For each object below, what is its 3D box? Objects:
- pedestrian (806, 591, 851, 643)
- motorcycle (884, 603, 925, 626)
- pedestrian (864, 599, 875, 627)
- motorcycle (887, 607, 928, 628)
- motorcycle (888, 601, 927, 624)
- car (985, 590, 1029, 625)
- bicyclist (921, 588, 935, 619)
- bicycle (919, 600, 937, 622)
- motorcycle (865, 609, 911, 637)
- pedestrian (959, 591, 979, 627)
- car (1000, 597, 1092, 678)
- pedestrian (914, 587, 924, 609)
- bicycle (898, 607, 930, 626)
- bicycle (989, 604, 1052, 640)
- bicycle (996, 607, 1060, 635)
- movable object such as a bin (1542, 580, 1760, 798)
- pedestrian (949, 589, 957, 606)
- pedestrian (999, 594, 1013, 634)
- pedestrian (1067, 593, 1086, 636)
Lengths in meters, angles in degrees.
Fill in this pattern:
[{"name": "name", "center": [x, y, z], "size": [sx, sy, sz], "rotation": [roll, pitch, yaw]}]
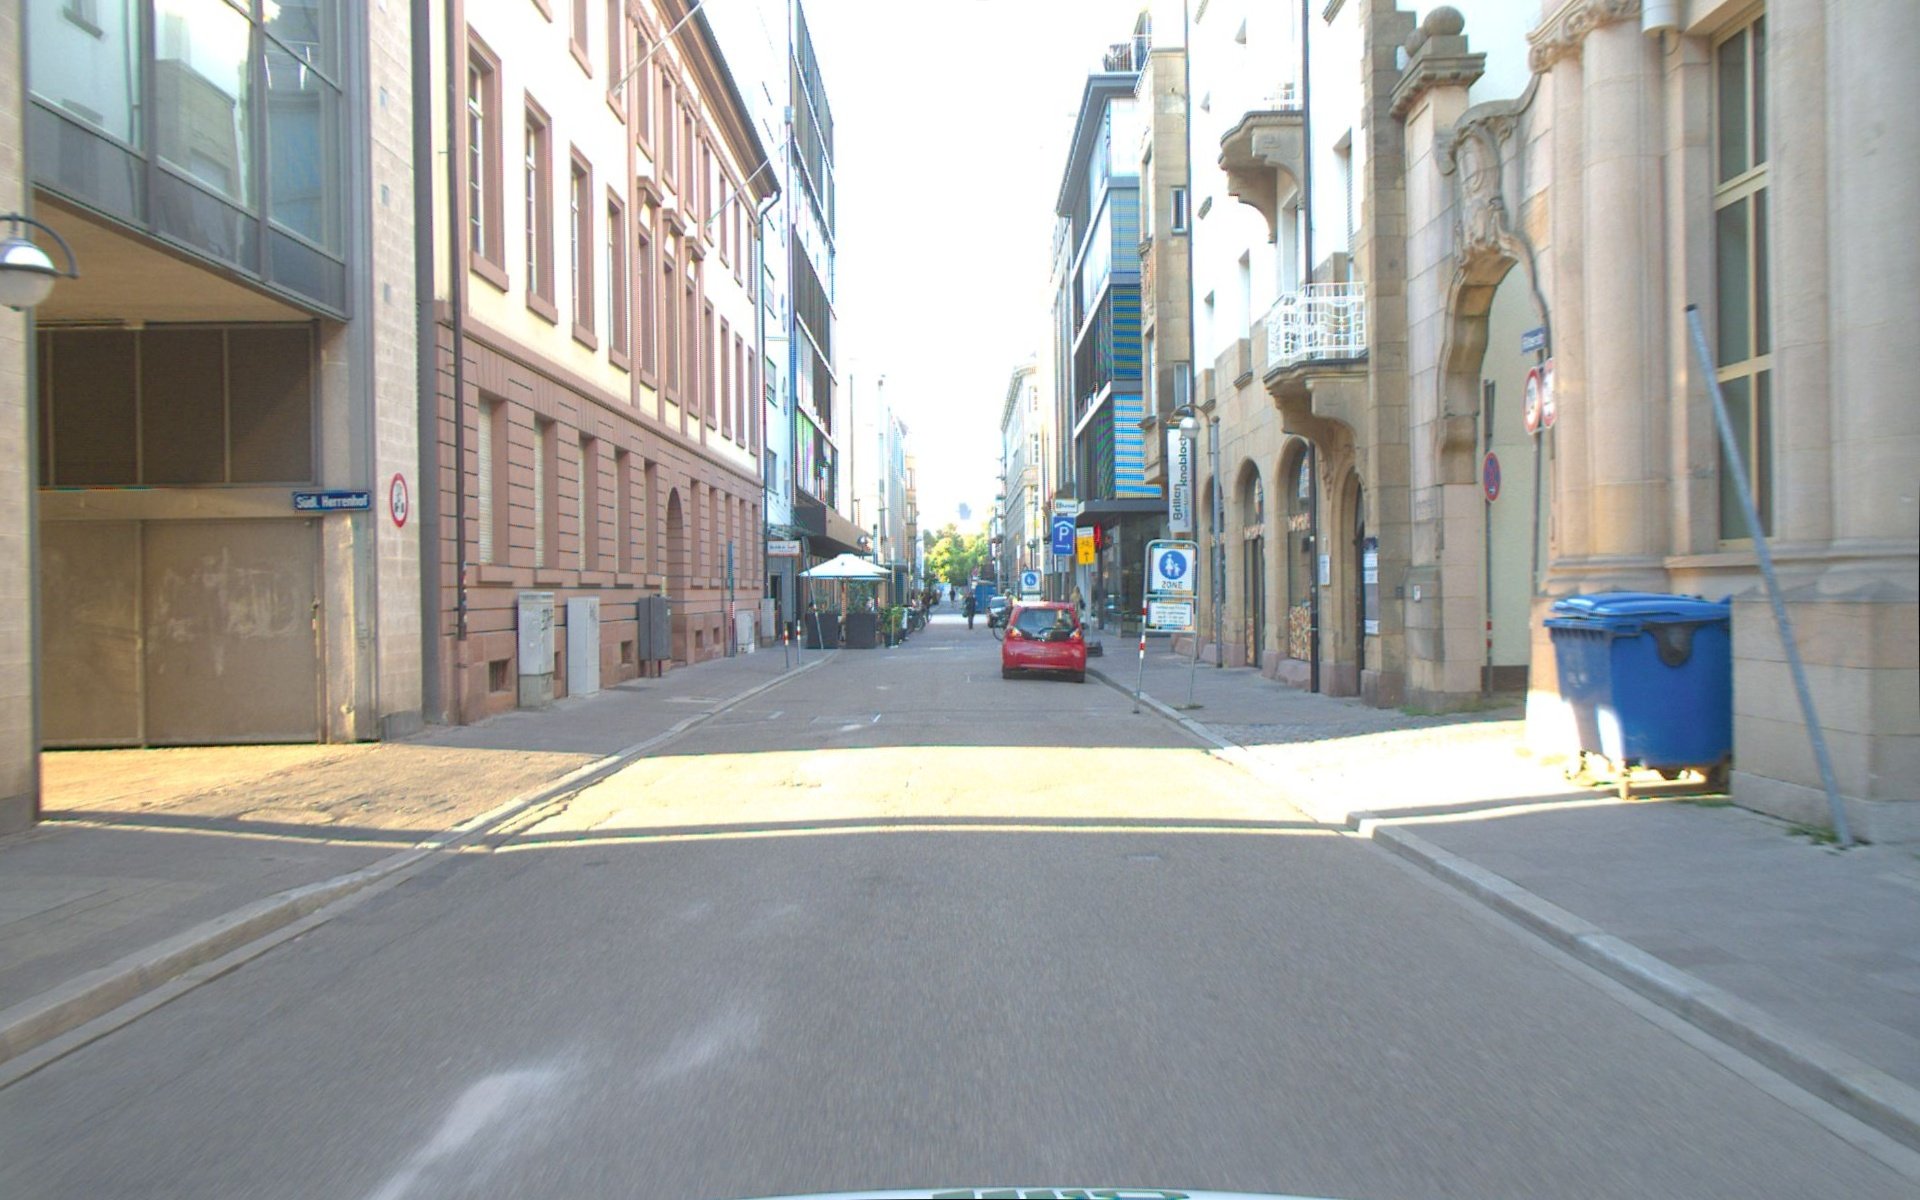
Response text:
[{"name": "pedestrian", "center": [-3.826, 0.493, 48.204], "size": [1.264, 1.513, 0.661], "rotation": [-1, 0, -2]}, {"name": "motorcycle", "center": [-2.457, 0.640, 73.343], "size": [1.766, 1.007, 0.560], "rotation": [-1, 0, -4]}, {"name": "pedestrian", "center": [-5.469, 0.783, 99.843], "size": [0.593, 1.651, 0.528], "rotation": [-1, 0, -10]}, {"name": "motorcycle", "center": [-2.296, 0.779, 72.320], "size": [1.766, 0.891, 0.560], "rotation": [-1, 0, -4]}, {"name": "motorcycle", "center": [-2.389, 0.582, 74.989], "size": [1.766, 1.007, 0.560], "rotation": [-1, 0, -4]}, {"name": "car", "center": [2.283, 0.361, 81.863], "size": [1.953, 1.639, 3.999], "rotation": [-1, 0, -2]}, {"name": "bicyclist", "center": [-1.747, 0.208, 89.567], "size": [0.624, 1.669, 0.770], "rotation": [-1, 0, -9]}, {"name": "bicycle", "center": [-1.732, 0.577, 89.480], "size": [0.624, 1.177, 2.496], "rotation": [-1, 0, -9]}, {"name": "motorcycle", "center": [-2.811, 0.905, 64.237], "size": [1.766, 1.059, 0.493], "rotation": [-1, 0, -4]}, {"name": "pedestrian", "center": [0.436, 0.441, 81.285], "size": [0.849, 1.743, 0.851], "rotation": [-1, 0, -9]}, {"name": "car", "center": [1.644, 0.692, 32.502], "size": [1.615, 1.452, 3.535], "rotation": [2, 0, 0]}, {"name": "pedestrian", "center": [-3.068, -0.163, 123.185], "size": [0.664, 1.651, 0.626], "rotation": [-1, 0, 2]}, {"name": "bicycle", "center": [-2.203, 0.788, 79.505], "size": [1.501, 0.912, 0.481], "rotation": [-1, 0, -28]}, {"name": "bicycle", "center": [1.970, 0.712, 54.305], "size": [2.011, 1.154, 0.649], "rotation": [-1, 0, -4]}, {"name": "bicycle", "center": [2.336, 0.712, 57.057], "size": [2.157, 0.921, 0.649], "rotation": [-1, 0, -4]}, {"name": "movable object such as a bin", "center": [4.803, 0.587, 11.600], "size": [0.970, 1.416, 1.240], "rotation": [-2, 0, -1]}, {"name": "pedestrian", "center": [-0.725, -0.248, 170.808], "size": [0.788, 1.702, 0.888], "rotation": [-1, 0, 2]}, {"name": "pedestrian", "center": [1.939, 0.578, 69.631], "size": [0.456, 1.648, 0.633], "rotation": [-1, 0, -11]}, {"name": "pedestrian", "center": [4.109, 0.516, 58.330], "size": [0.643, 1.513, 0.493], "rotation": [-1, 0, 2]}]
